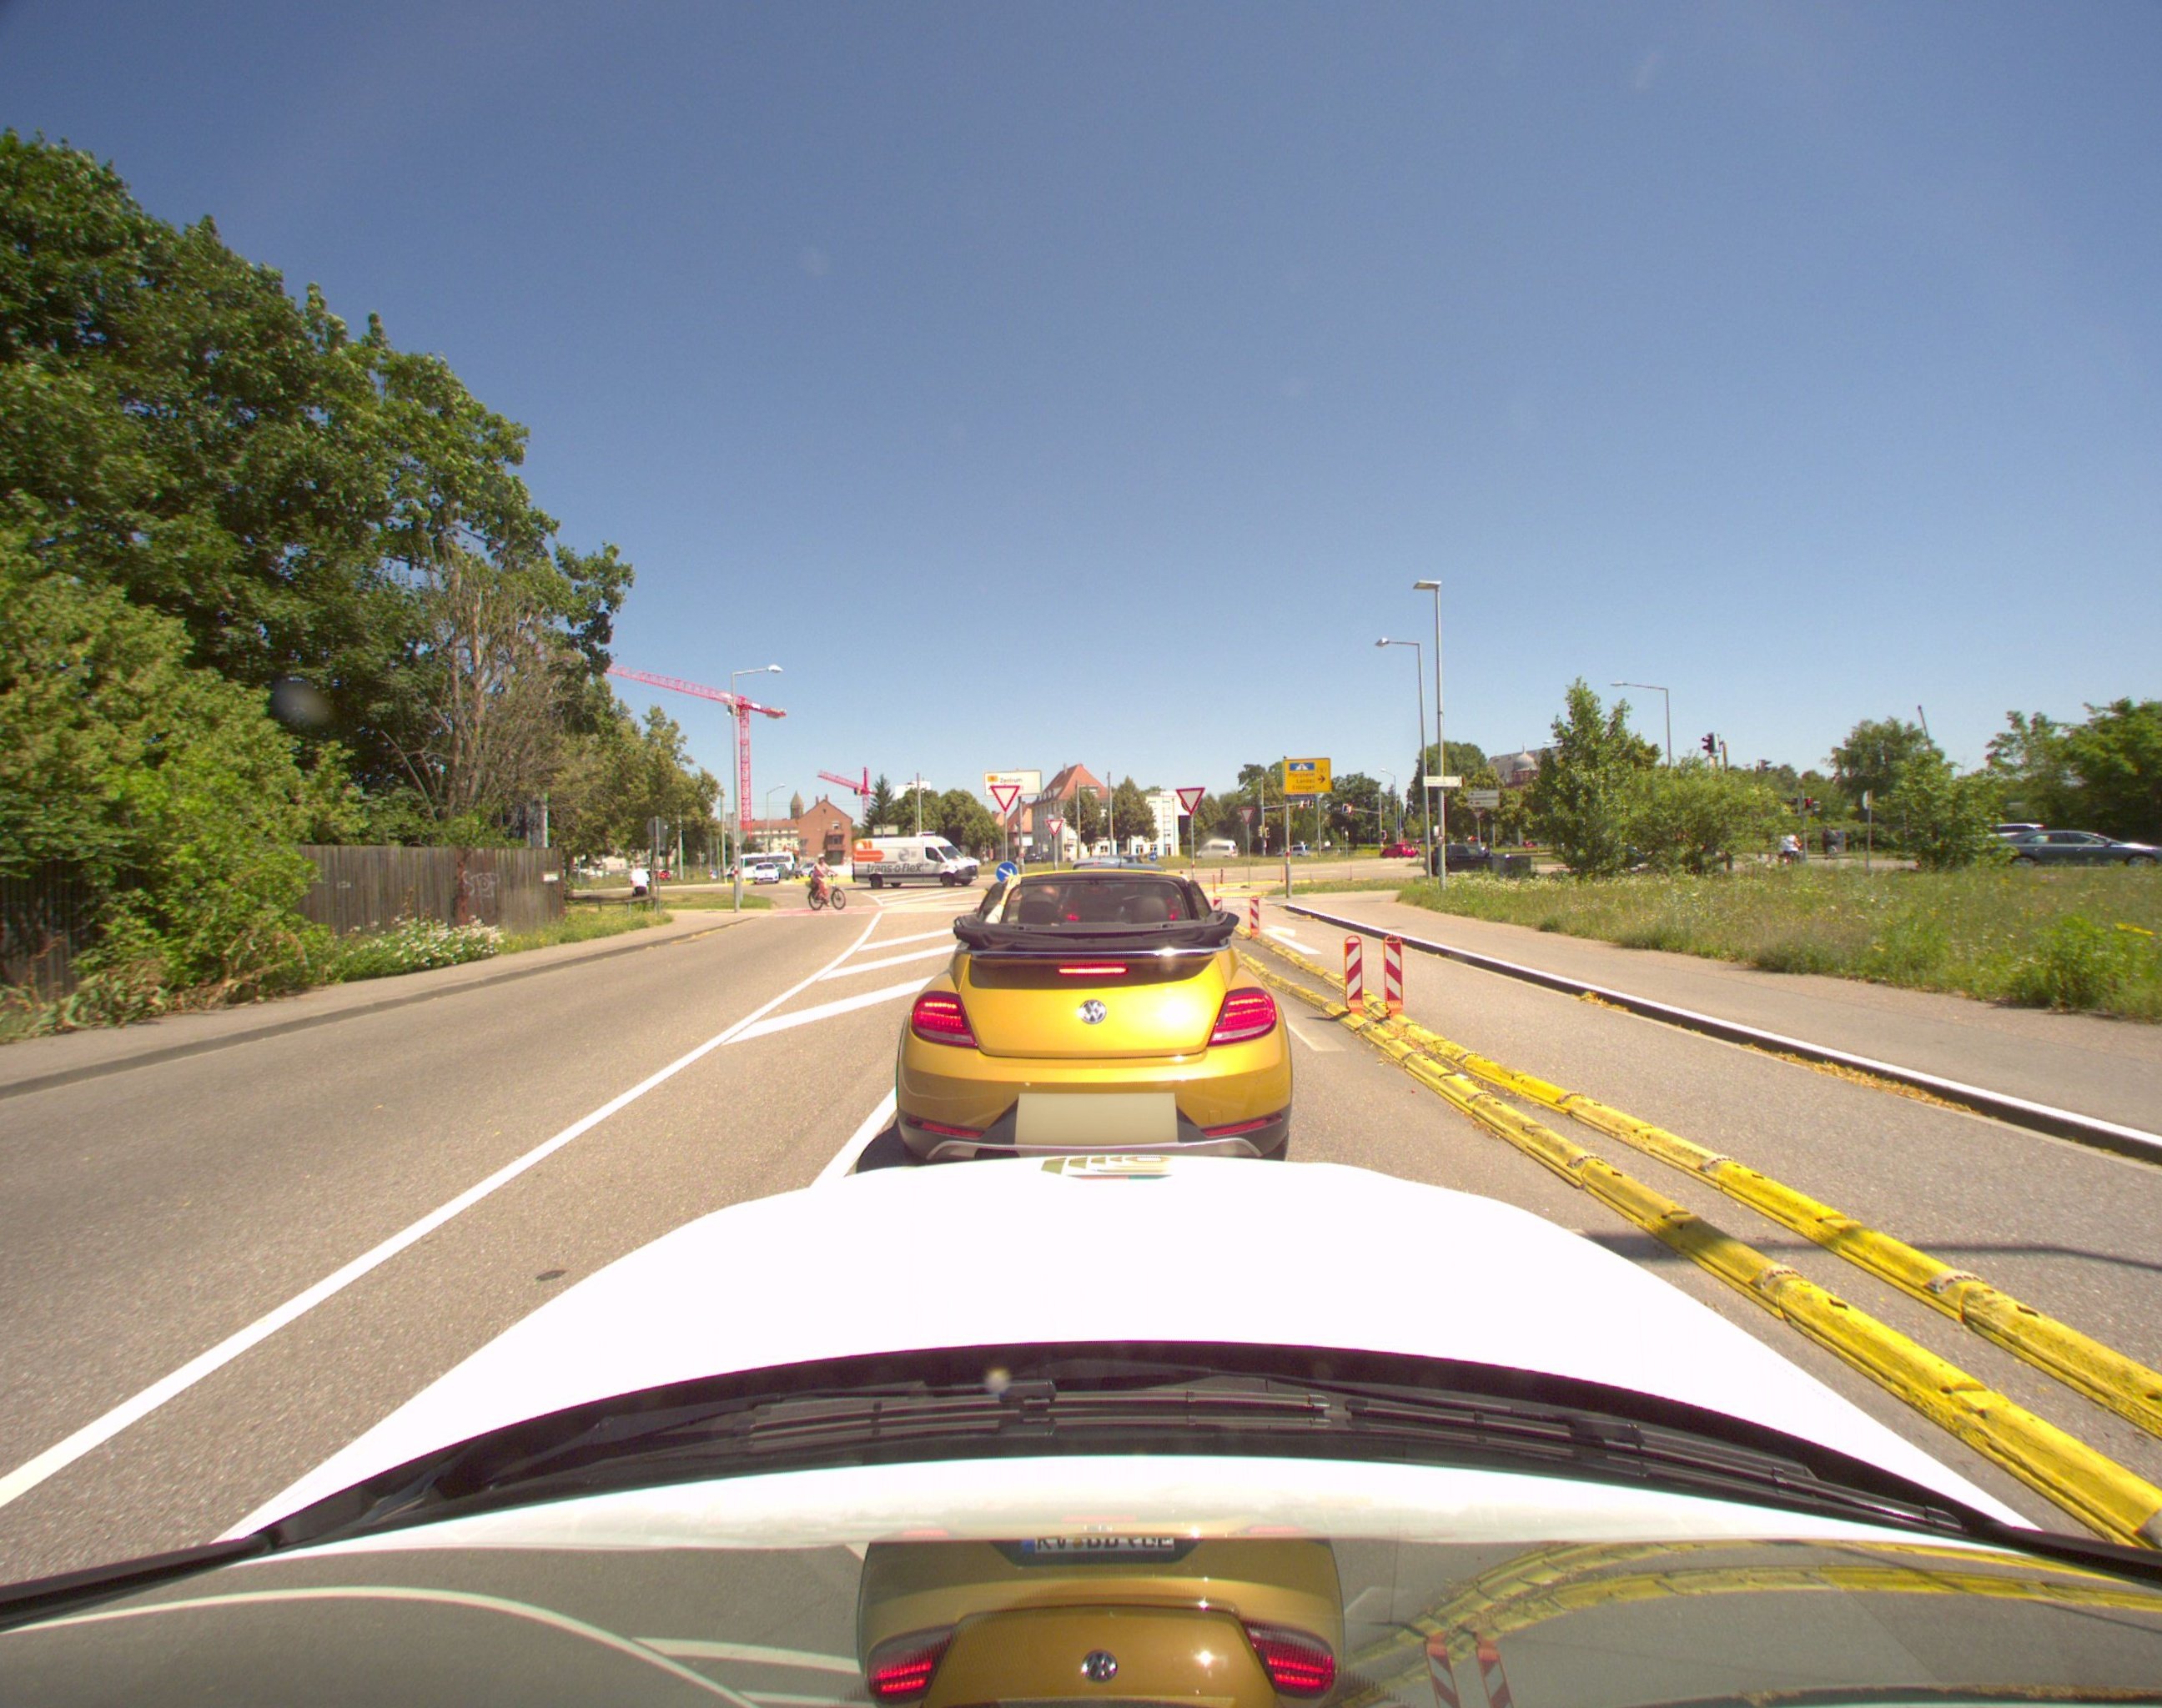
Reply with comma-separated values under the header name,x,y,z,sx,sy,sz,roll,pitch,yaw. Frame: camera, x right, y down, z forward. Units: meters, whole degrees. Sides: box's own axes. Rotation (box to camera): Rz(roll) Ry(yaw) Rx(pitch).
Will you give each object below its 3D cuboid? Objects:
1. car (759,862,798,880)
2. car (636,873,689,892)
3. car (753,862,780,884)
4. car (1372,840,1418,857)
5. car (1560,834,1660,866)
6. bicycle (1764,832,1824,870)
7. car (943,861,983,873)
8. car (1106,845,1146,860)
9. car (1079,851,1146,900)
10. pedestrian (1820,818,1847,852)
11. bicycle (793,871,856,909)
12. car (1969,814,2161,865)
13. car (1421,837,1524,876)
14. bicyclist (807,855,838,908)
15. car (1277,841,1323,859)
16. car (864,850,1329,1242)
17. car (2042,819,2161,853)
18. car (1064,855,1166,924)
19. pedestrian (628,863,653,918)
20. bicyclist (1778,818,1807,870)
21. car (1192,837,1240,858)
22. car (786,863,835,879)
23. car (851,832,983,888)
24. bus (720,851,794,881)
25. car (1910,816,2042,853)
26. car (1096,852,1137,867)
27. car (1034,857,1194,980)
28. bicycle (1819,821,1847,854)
name,x,y,z,sx,sy,sz,roll,pitch,yaw
car,-25.006,1.389,67.542,1.742,1.371,4.327,0,0,-2
car,-40.240,2.715,78.387,4.456,1.736,1.832,0,-1,-28
car,-23.327,1.392,60.374,1.783,1.527,3.843,-2,0,-22
car,32.775,-0.578,85.132,1.905,1.654,4.307,0,-1,-27
car,26.831,-0.180,41.427,3.954,1.552,1.736,-1,-1,20
bicycle,25.896,-0.109,29.564,2.902,1.353,0.635,0,-1,-28
car,-13.864,1.502,95.776,4.336,1.371,1.738,0,-1,-24
car,6.146,-0.149,111.023,5.285,1.962,1.997,0,-1,5
car,1.067,0.674,27.790,2.057,1.481,4.545,-2,0,2
pedestrian,37.907,-0.946,41.034,0.959,1.660,0.892,-1,-1,44
bicycle,-8.642,1.209,27.447,2.073,1.221,0.637,-2,0,24
car,34.678,-0.489,28.652,4.362,1.595,2.013,-1,1,38
car,17.540,0.115,36.669,3.954,1.551,1.737,-2,2,19
bicyclist,-8.713,0.932,27.473,0.664,1.752,0.596,-2,1,23
car,27.276,-0.490,101.421,5.262,2.070,2.006,-1,-1,45
car,0.121,0.747,5.225,1.758,1.481,4.259,0,-1,2
car,51.404,-0.863,40.565,4.389,1.592,1.860,-1,-1,43
car,0.751,0.745,18.707,2.057,1.382,4.259,0,0,2
pedestrian,-14.684,1.185,27.135,0.640,1.786,0.958,0,-1,-35
bicyclist,25.763,-0.355,29.498,0.573,1.841,0.603,0,-1,-29
car,16.233,-0.724,98.174,5.260,2.397,2.007,-1,-1,31
car,-24.813,1.536,74.856,1.711,1.402,4.297,-1,-1,29
car,-8.636,0.337,42.701,6.801,2.828,2.011,-1,-1,22
bus,-34.621,1.261,87.087,7.285,3.172,2.243,0,-1,-24
car,45.708,-0.944,41.732,4.389,1.736,1.860,-1,-1,43
car,4.865,0.737,111.429,5.272,1.962,2.002,-1,-1,14
car,0.459,0.767,11.750,1.844,1.366,4.260,-2,0,2
bicycle,38.006,-0.818,41.143,0.972,1.597,2.900,-1,-1,43
